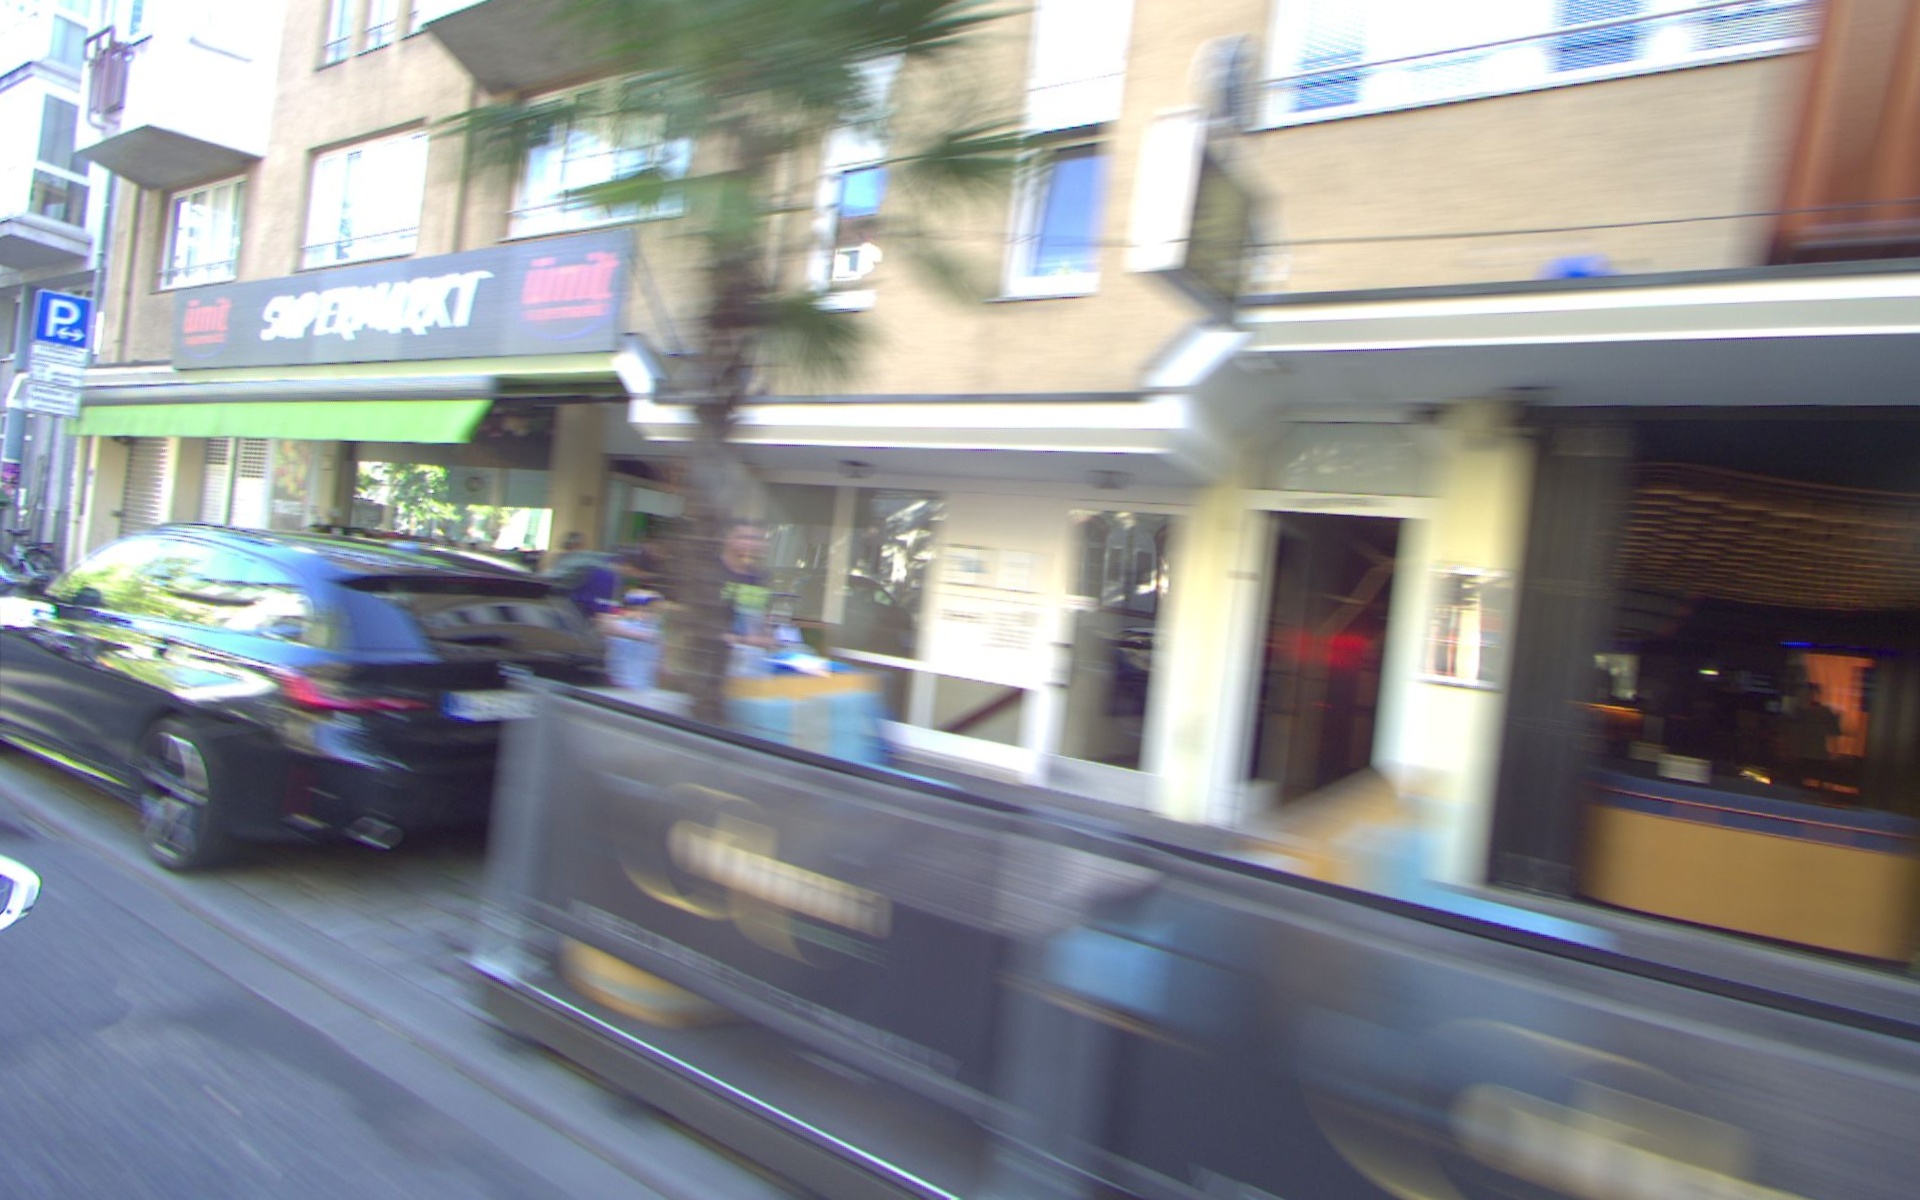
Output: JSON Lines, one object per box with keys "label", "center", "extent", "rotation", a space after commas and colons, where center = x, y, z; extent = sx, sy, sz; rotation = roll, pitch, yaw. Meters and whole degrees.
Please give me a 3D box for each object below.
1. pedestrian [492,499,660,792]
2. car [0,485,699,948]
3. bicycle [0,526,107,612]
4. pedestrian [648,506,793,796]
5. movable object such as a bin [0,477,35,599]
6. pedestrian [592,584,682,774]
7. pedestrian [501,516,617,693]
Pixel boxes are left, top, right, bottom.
{"label": "pedestrian", "center": [-2.439, 0.267, 6.368], "extent": [0.614, 1.717, 0.753], "rotation": [5, 2, -43]}
{"label": "car", "center": [-3.887, 0.274, 5.612], "extent": [4.830, 1.492, 1.822], "rotation": [7, 3, 32]}
{"label": "bicycle", "center": [-10.934, -0.383, 11.717], "extent": [1.610, 0.883, 0.570], "rotation": [5, 1, 10]}
{"label": "pedestrian", "center": [-1.509, 0.320, 6.306], "extent": [0.623, 1.717, 0.500], "rotation": [6, 2, -27]}
{"label": "movable object such as a bin", "center": [-12.283, -0.839, 12.279], "extent": [1.274, 1.450, 1.078], "rotation": [7, 1, 32]}
{"label": "pedestrian", "center": [-2.151, 0.514, 6.692], "extent": [0.438, 1.177, 0.499], "rotation": [6, 1, -19]}
{"label": "pedestrian", "center": [-4.006, 0.048, 10.056], "extent": [0.750, 1.663, 0.616], "rotation": [7, 2, 34]}
